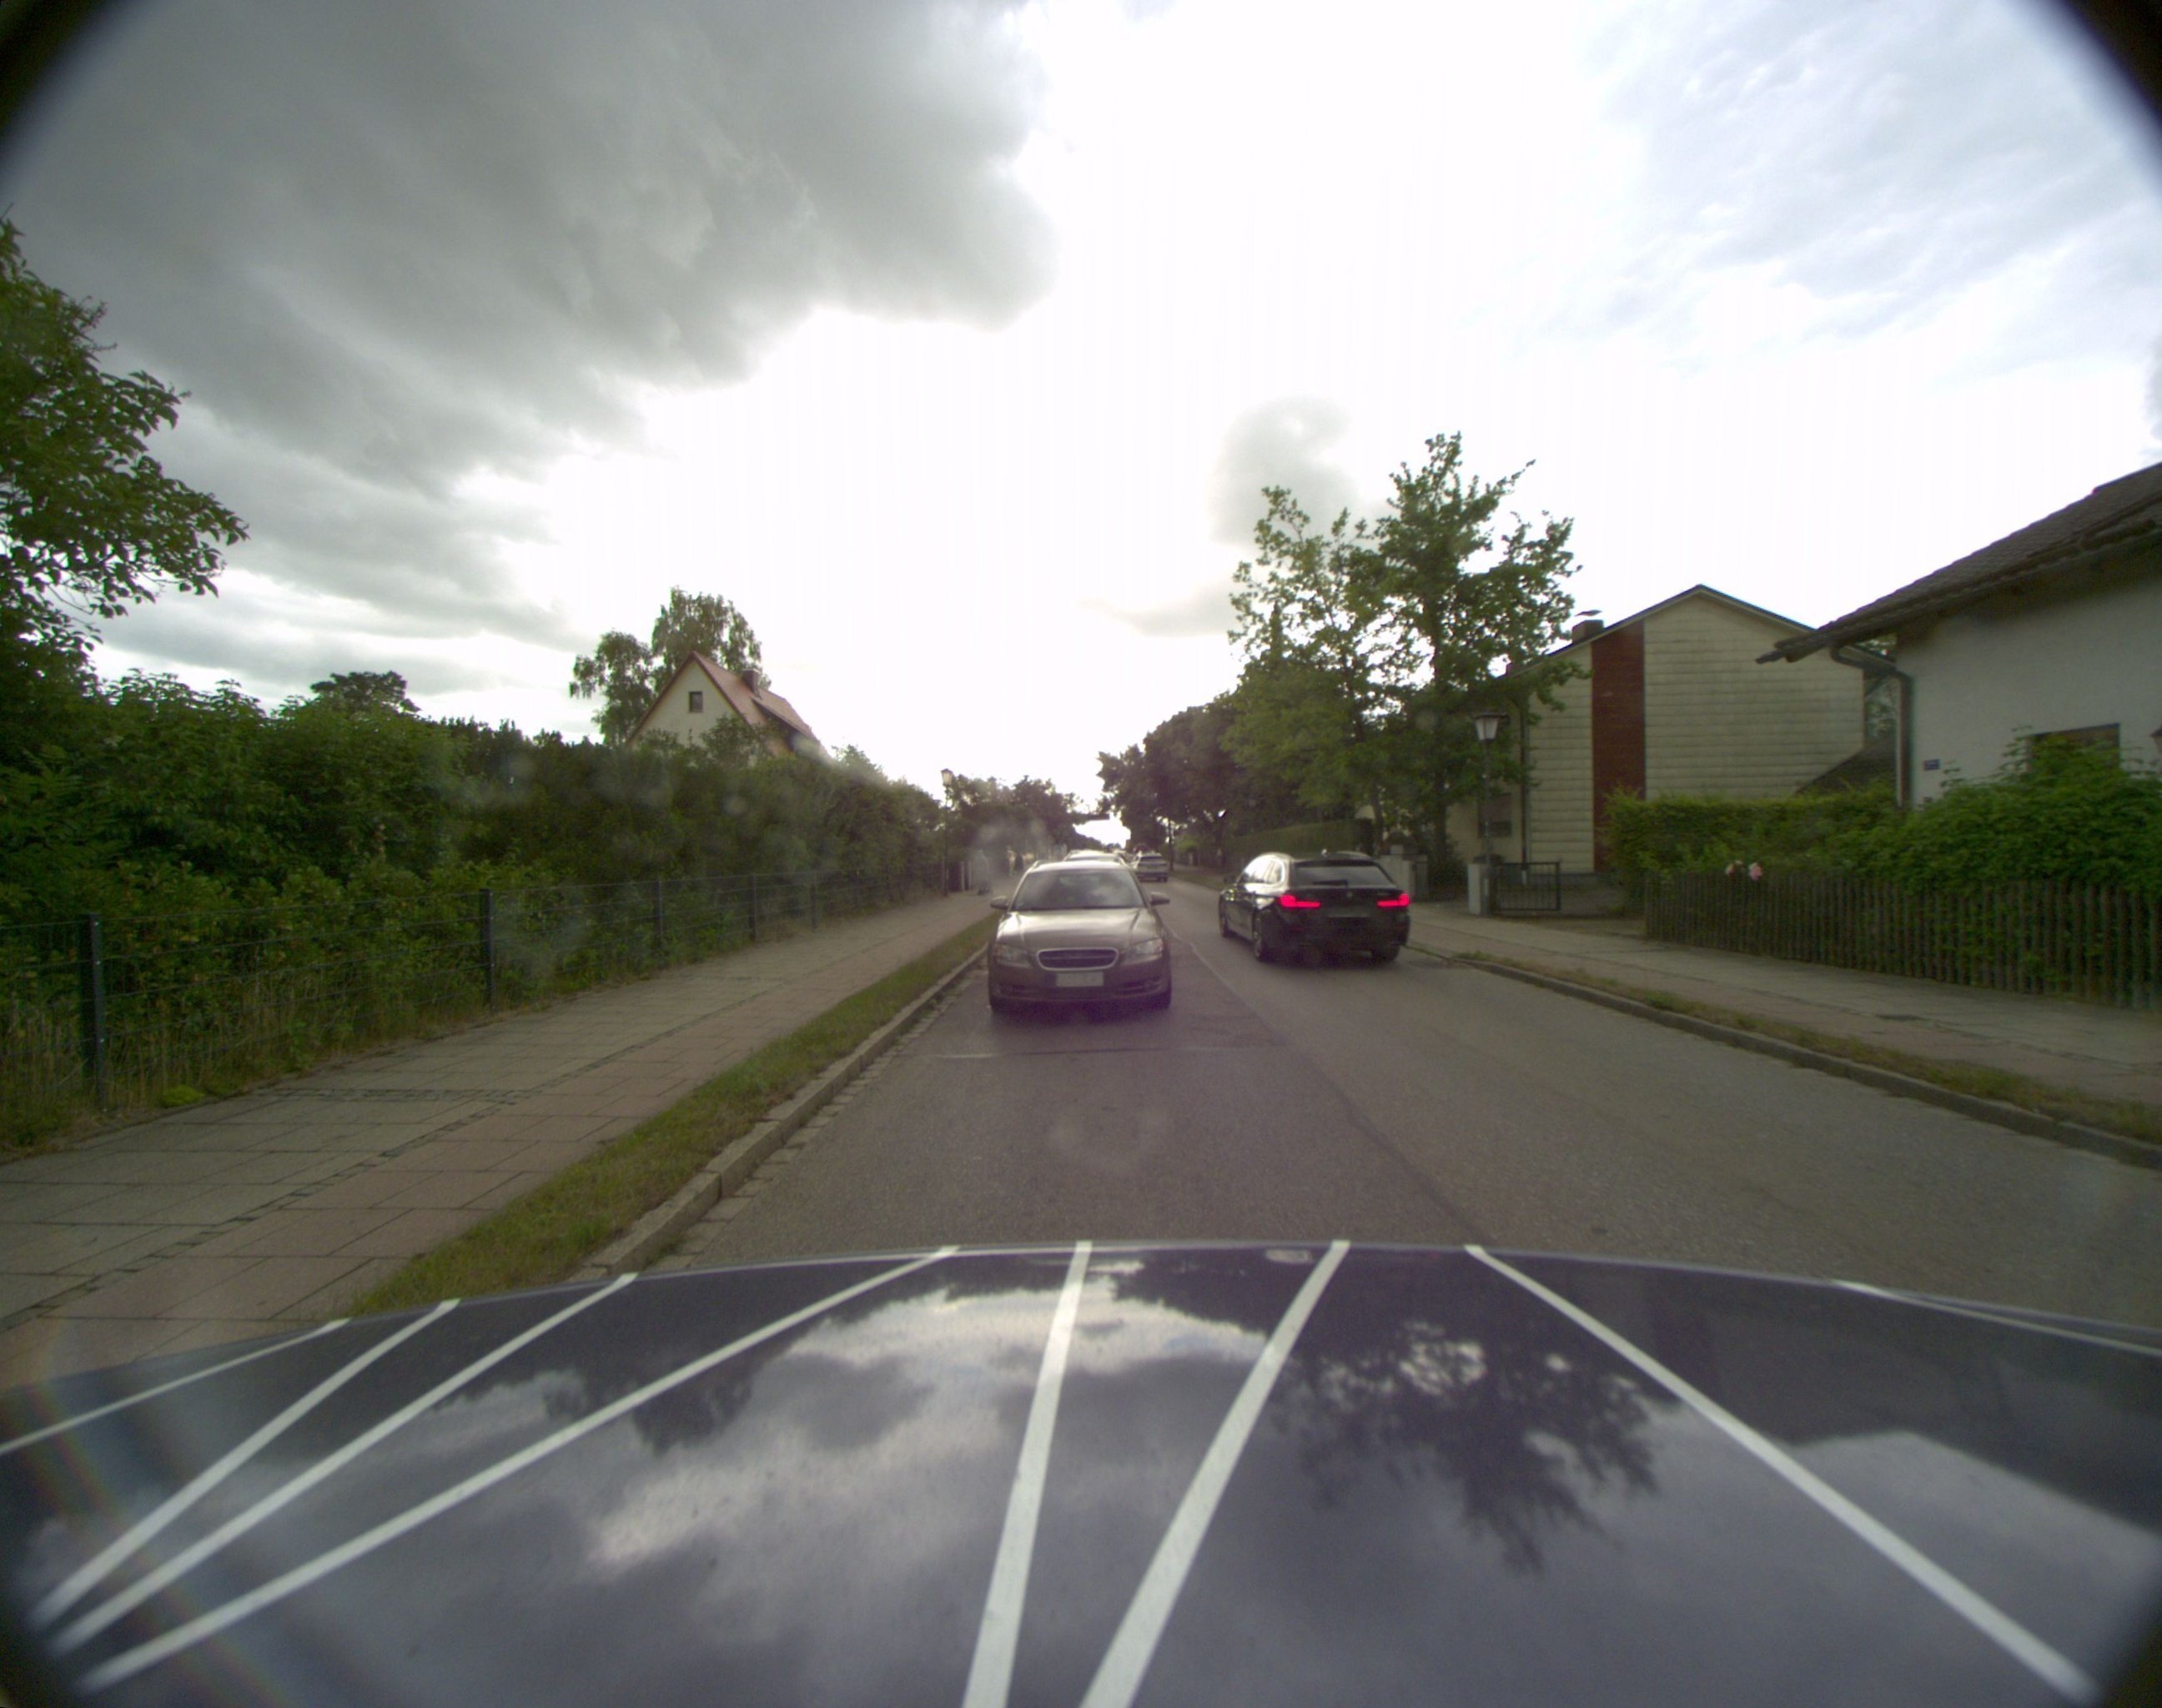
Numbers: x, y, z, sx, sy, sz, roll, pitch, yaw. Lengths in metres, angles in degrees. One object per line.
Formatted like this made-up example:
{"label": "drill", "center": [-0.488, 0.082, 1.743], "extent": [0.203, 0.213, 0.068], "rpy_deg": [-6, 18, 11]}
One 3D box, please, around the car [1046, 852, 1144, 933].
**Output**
{"label": "car", "center": [0.291, 0.751, 17.293], "extent": [1.866, 1.518, 4.942], "rpy_deg": [-2, 0, 0]}

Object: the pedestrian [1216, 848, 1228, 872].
{"label": "pedestrian", "center": [8.548, 0.386, 46.020], "extent": [0.631, 1.429, 0.563], "rpy_deg": [-1, 1, 1]}

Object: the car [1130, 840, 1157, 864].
{"label": "car", "center": [6.379, -0.196, 77.958], "extent": [2.246, 2.258, 4.469], "rpy_deg": [-2, 0, -2]}

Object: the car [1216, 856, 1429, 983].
{"label": "car", "center": [3.295, 0.798, 11.377], "extent": [1.851, 1.445, 4.549], "rpy_deg": [-1, 0, 2]}

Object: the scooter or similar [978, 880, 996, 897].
{"label": "scooter or similar", "center": [-3.300, 1.214, 26.738], "extent": [0.618, 0.553, 0.742], "rpy_deg": [-1, 0, -7]}

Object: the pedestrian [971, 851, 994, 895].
{"label": "pedestrian", "center": [-3.544, 0.676, 27.409], "extent": [0.793, 1.593, 0.671], "rpy_deg": [0, 1, -7]}

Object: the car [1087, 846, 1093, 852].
{"label": "car", "center": [2.829, -1.619, 240.367], "extent": [1.998, 2.002, 4.000], "rpy_deg": [-1, 0, 1]}

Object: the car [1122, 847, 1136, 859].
{"label": "car", "center": [7.014, -0.169, 111.222], "extent": [1.854, 1.576, 4.000], "rpy_deg": [-2, 1, 1]}

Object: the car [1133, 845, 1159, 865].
{"label": "car", "center": [6.136, 0.097, 71.947], "extent": [1.999, 1.740, 3.999], "rpy_deg": [-1, 0, -2]}

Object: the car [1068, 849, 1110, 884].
{"label": "car", "center": [0.396, 0.569, 36.689], "extent": [1.866, 1.518, 4.122], "rpy_deg": [-2, 0, 0]}

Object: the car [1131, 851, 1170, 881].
{"label": "car", "center": [3.680, 0.610, 40.723], "extent": [1.756, 1.475, 4.375], "rpy_deg": [-2, 0, 1]}

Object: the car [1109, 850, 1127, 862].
{"label": "car", "center": [4.421, 0.190, 91.106], "extent": [2.029, 1.362, 4.000], "rpy_deg": [-1, 0, 2]}

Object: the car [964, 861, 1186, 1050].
{"label": "car", "center": [-0.033, 0.868, 8.477], "extent": [1.809, 1.476, 4.270], "rpy_deg": [-2, 0, 0]}
